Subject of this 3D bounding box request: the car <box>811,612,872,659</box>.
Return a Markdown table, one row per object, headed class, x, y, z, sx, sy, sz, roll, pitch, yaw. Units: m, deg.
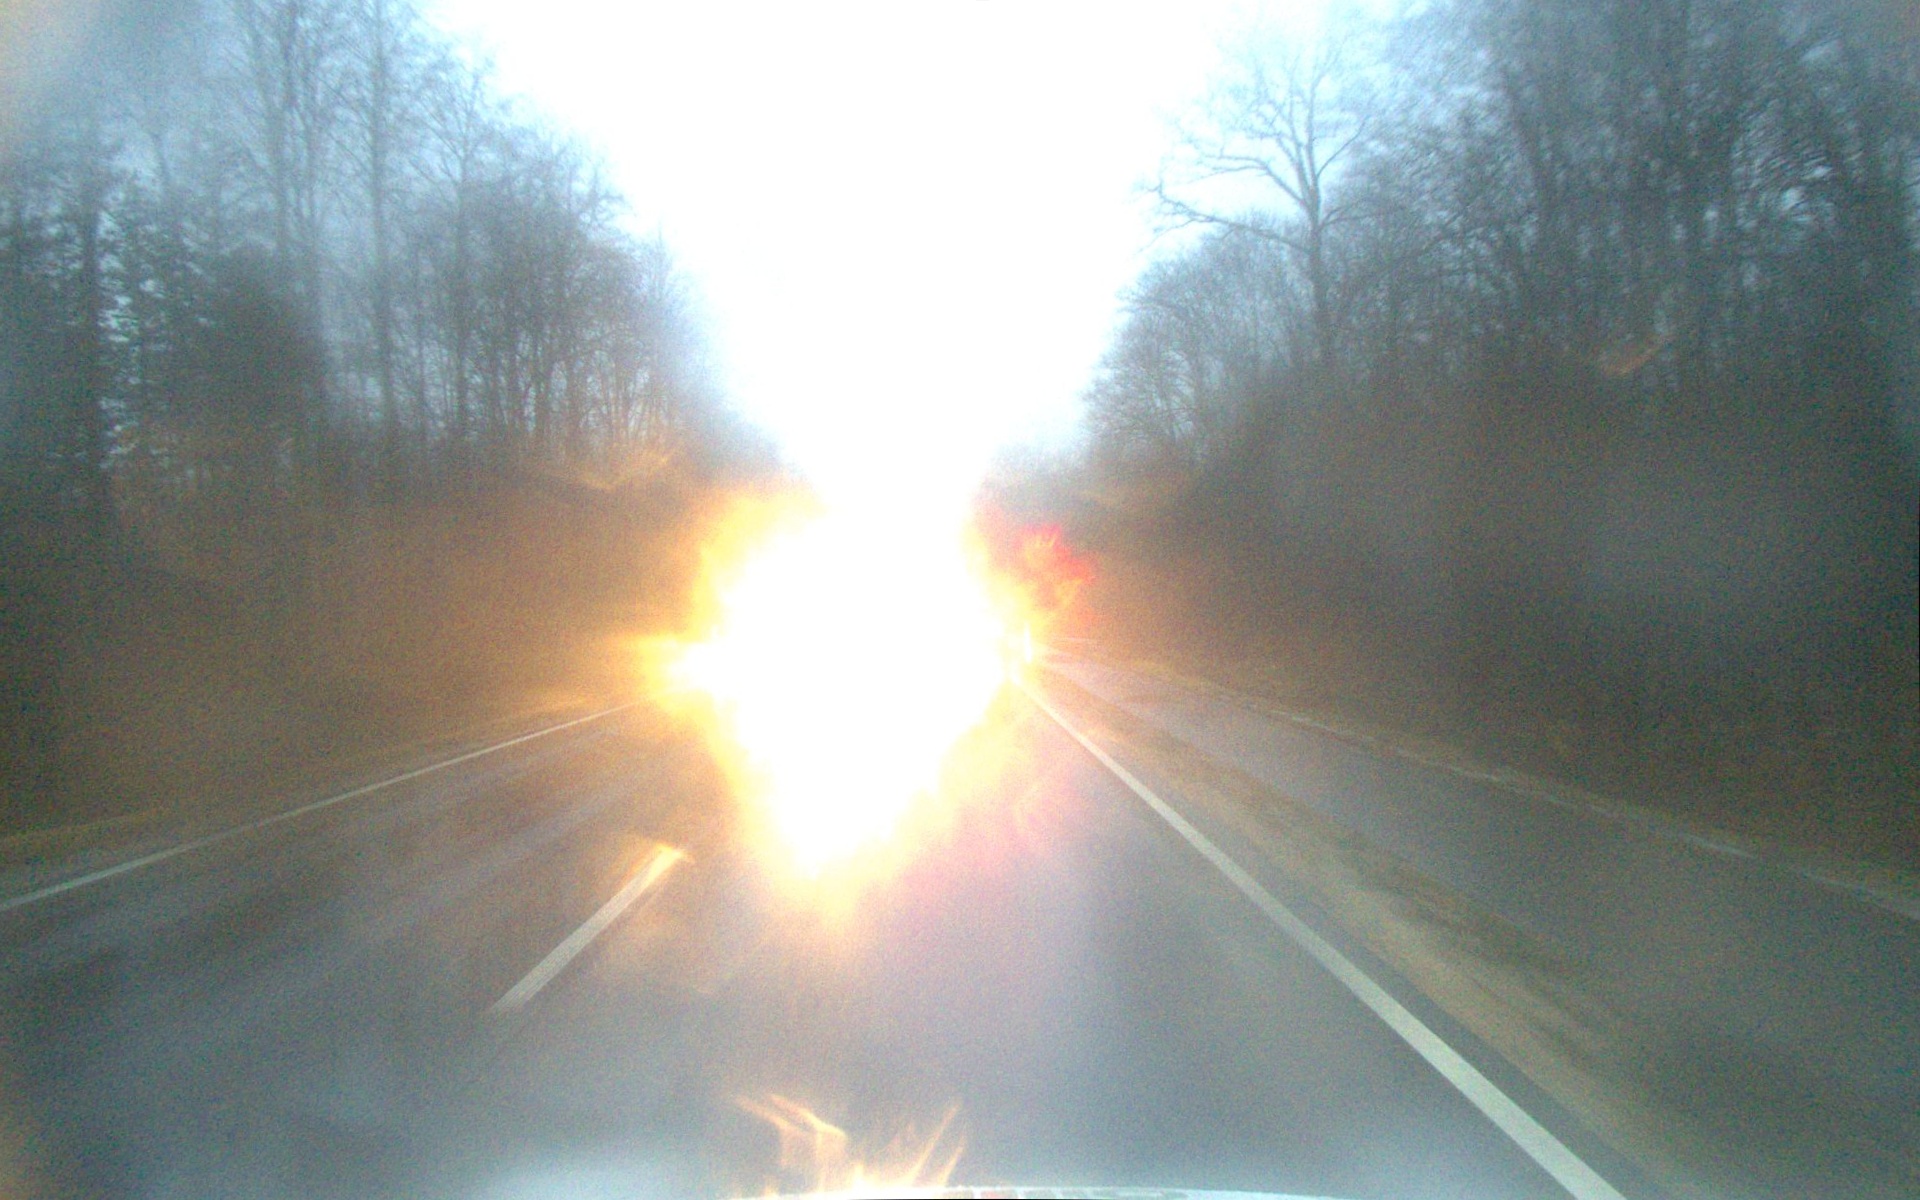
| class | x | y | z | sx | sy | sz | roll | pitch | yaw |
| --- | --- | --- | --- | --- | --- | --- | --- | --- | --- |
| car | -3.978 | 1.171 | 56.186 | 1.762 | 1.487 | 4.176 | -2 | 0 | -1 |
